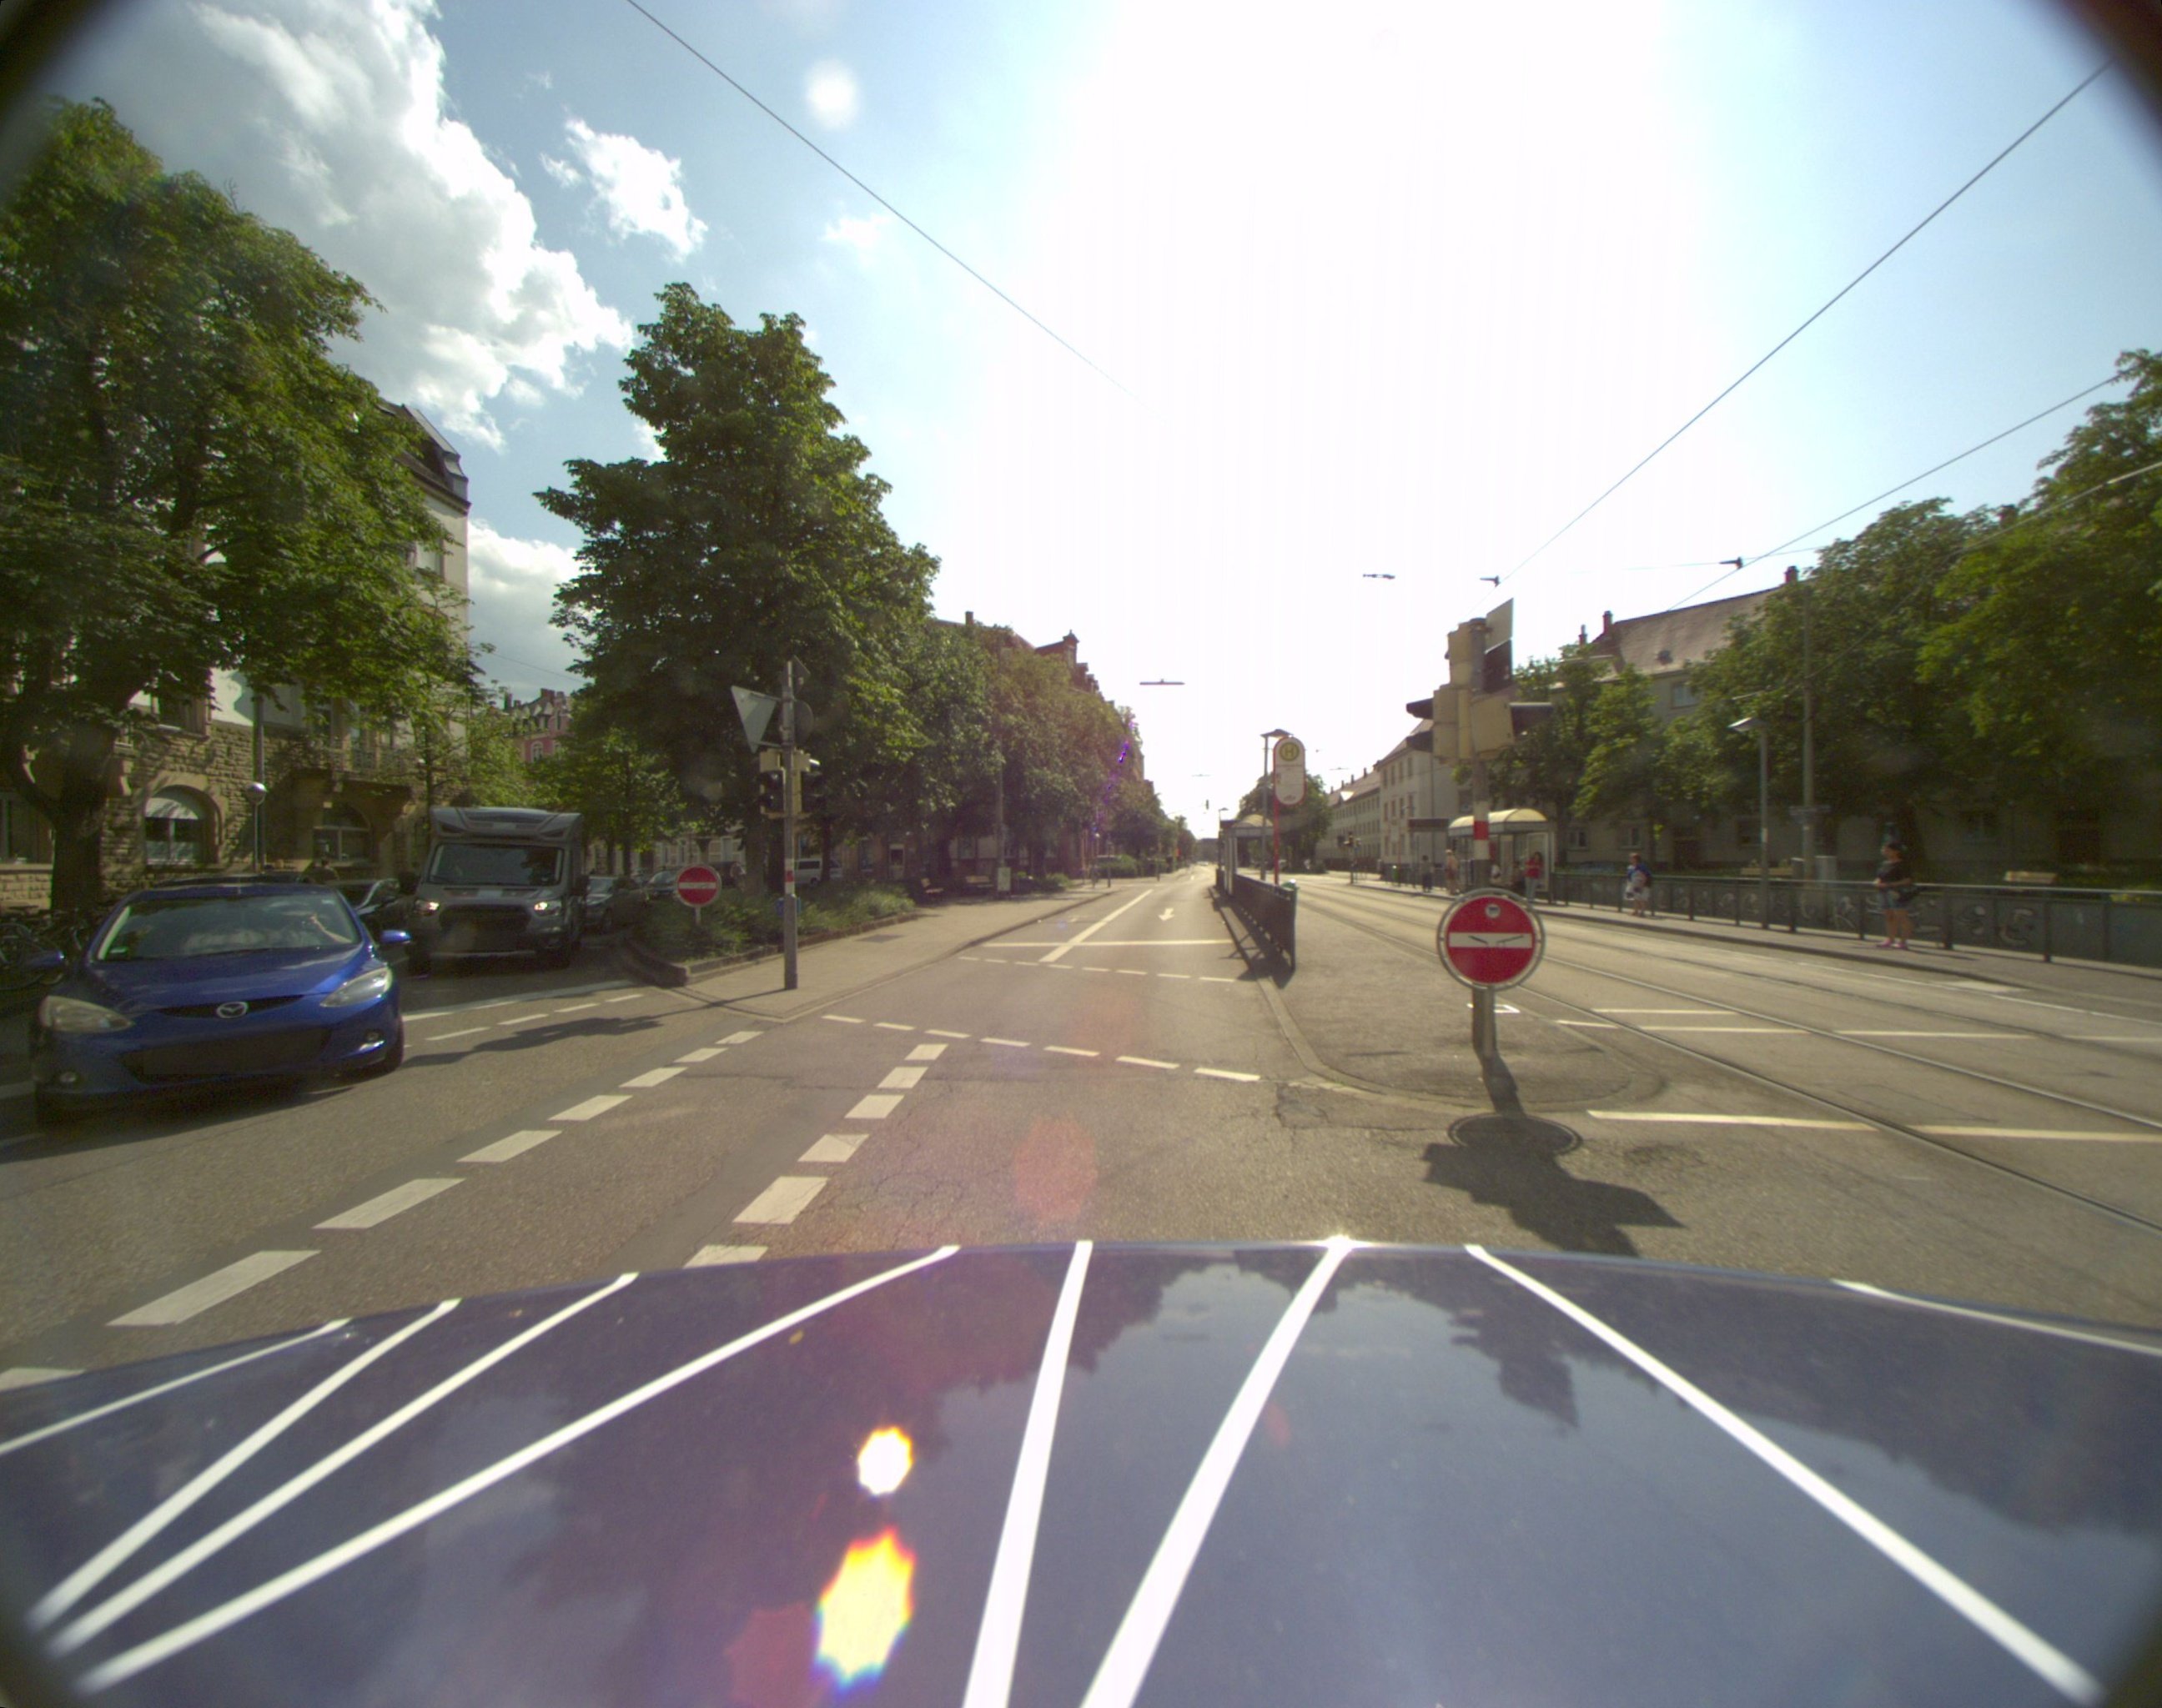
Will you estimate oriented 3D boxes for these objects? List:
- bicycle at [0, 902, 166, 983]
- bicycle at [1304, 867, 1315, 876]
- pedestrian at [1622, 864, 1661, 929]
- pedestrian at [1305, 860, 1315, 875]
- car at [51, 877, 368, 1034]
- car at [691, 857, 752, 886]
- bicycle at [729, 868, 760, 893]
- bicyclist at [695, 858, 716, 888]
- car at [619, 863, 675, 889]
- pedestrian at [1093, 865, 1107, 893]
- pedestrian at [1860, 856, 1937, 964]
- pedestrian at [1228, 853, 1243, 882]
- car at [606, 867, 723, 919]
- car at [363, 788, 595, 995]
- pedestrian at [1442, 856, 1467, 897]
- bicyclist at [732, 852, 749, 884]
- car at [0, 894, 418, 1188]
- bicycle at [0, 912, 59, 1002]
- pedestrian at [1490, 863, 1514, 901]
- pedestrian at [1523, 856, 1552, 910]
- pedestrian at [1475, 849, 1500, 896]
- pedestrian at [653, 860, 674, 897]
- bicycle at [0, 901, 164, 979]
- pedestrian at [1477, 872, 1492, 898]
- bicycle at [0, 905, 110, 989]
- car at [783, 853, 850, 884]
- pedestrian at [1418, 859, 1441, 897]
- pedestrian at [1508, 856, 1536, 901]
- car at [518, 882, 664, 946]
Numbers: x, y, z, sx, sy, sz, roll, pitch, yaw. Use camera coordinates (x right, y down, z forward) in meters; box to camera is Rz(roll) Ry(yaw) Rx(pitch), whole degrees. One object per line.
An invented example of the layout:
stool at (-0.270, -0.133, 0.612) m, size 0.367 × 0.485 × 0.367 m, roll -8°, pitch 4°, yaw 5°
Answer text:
bicycle at (-15.540, 1.324, 11.597) m, size 0.586 × 1.109 × 1.977 m, roll -2°, pitch -2°, yaw 42°
bicycle at (23.559, 1.811, 78.471) m, size 0.755 × 0.844 × 1.619 m, roll -1°, pitch 0°, yaw 4°
pedestrian at (13.222, 0.990, 17.945) m, size 0.428 × 1.495 × 0.704 m, roll 1°, pitch 1°, yaw 8°
pedestrian at (23.566, 1.385, 78.138) m, size 0.805 × 1.465 × 0.807 m, roll -1°, pitch 0°, yaw 4°
car at (-11.377, 1.151, 10.318) m, size 1.731 × 1.545 × 4.103 m, roll -4°, pitch 1°, yaw -34°
car at (-26.416, 1.272, 55.802) m, size 4.305 × 2.002 × 2.004 m, roll -1°, pitch 0°, yaw 31°
bicycle at (-16.871, 1.329, 38.104) m, size 1.848 × 1.187 × 0.524 m, roll -2°, pitch 1°, yaw 36°
bicyclist at (-17.599, 0.882, 35.628) m, size 0.633 × 1.396 × 0.482 m, roll -3°, pitch 1°, yaw 7°
car at (-34.590, 1.733, 60.478) m, size 4.305 × 2.002 × 2.004 m, roll -1°, pitch 0°, yaw 31°
pedestrian at (1.145, 1.498, 46.193) m, size 0.706 × 1.644 × 0.534 m, roll -3°, pitch 1°, yaw 8°
pedestrian at (11.906, 0.804, 11.076) m, size 0.537 × 1.532 × 0.517 m, roll 0°, pitch -1°, yaw 8°
pedestrian at (8.309, 0.709, 40.980) m, size 0.701 × 1.524 × 0.557 m, roll -3°, pitch 1°, yaw 8°
car at (-13.465, 1.194, 24.857) m, size 1.847 × 1.492 × 4.183 m, roll -1°, pitch 0°, yaw -6°
car at (-10.293, 0.591, 13.667) m, size 2.396 × 2.777 × 6.659 m, roll 1°, pitch -2°, yaw -31°
pedestrian at (15.277, 0.908, 31.087) m, size 0.657 × 1.632 × 0.639 m, roll 2°, pitch 1°, yaw 8°
bicyclist at (-17.182, 0.709, 38.374) m, size 0.698 × 1.589 × 0.507 m, roll -2°, pitch -2°, yaw 38°
car at (-6.744, 1.109, 6.004) m, size 3.988 × 1.410 × 1.896 m, roll -1°, pitch 0°, yaw 44°
bicycle at (-14.425, 1.336, 9.460) m, size 0.586 × 1.109 × 1.977 m, roll -2°, pitch -2°, yaw 42°
pedestrian at (15.271, 1.007, 27.578) m, size 0.604 × 1.329 × 0.406 m, roll 2°, pitch 1°, yaw 3°
pedestrian at (14.245, 0.903, 23.724) m, size 0.473 × 1.647 × 0.746 m, roll 1°, pitch 1°, yaw 8°
pedestrian at (14.729, 0.649, 27.570) m, size 0.498 × 1.660 × 0.678 m, roll 2°, pitch 1°, yaw 3°
pedestrian at (-19.445, 1.129, 35.373) m, size 0.560 × 1.690 × 0.534 m, roll -3°, pitch 1°, yaw 7°
bicycle at (-16.011, 1.331, 11.965) m, size 0.586 × 1.109 × 1.977 m, roll -2°, pitch -2°, yaw 42°
pedestrian at (14.717, 1.120, 27.734) m, size 0.340 × 0.925 × 0.346 m, roll 2°, pitch 1°, yaw 2°
bicycle at (-15.177, 1.312, 10.591) m, size 0.586 × 1.109 × 1.977 m, roll -2°, pitch -2°, yaw 42°
car at (-17.608, 0.946, 50.551) m, size 4.305 × 1.975 × 1.841 m, roll -1°, pitch 1°, yaw 31°
pedestrian at (14.779, 1.016, 32.247) m, size 0.657 × 1.598 × 0.639 m, roll 2°, pitch 1°, yaw 3°
pedestrian at (14.493, 0.783, 24.989) m, size 0.530 × 1.448 × 0.692 m, roll 1°, pitch 1°, yaw 7°
car at (-12.851, 1.506, 20.287) m, size 1.838 × 1.361 × 4.481 m, roll -1°, pitch -1°, yaw -13°
